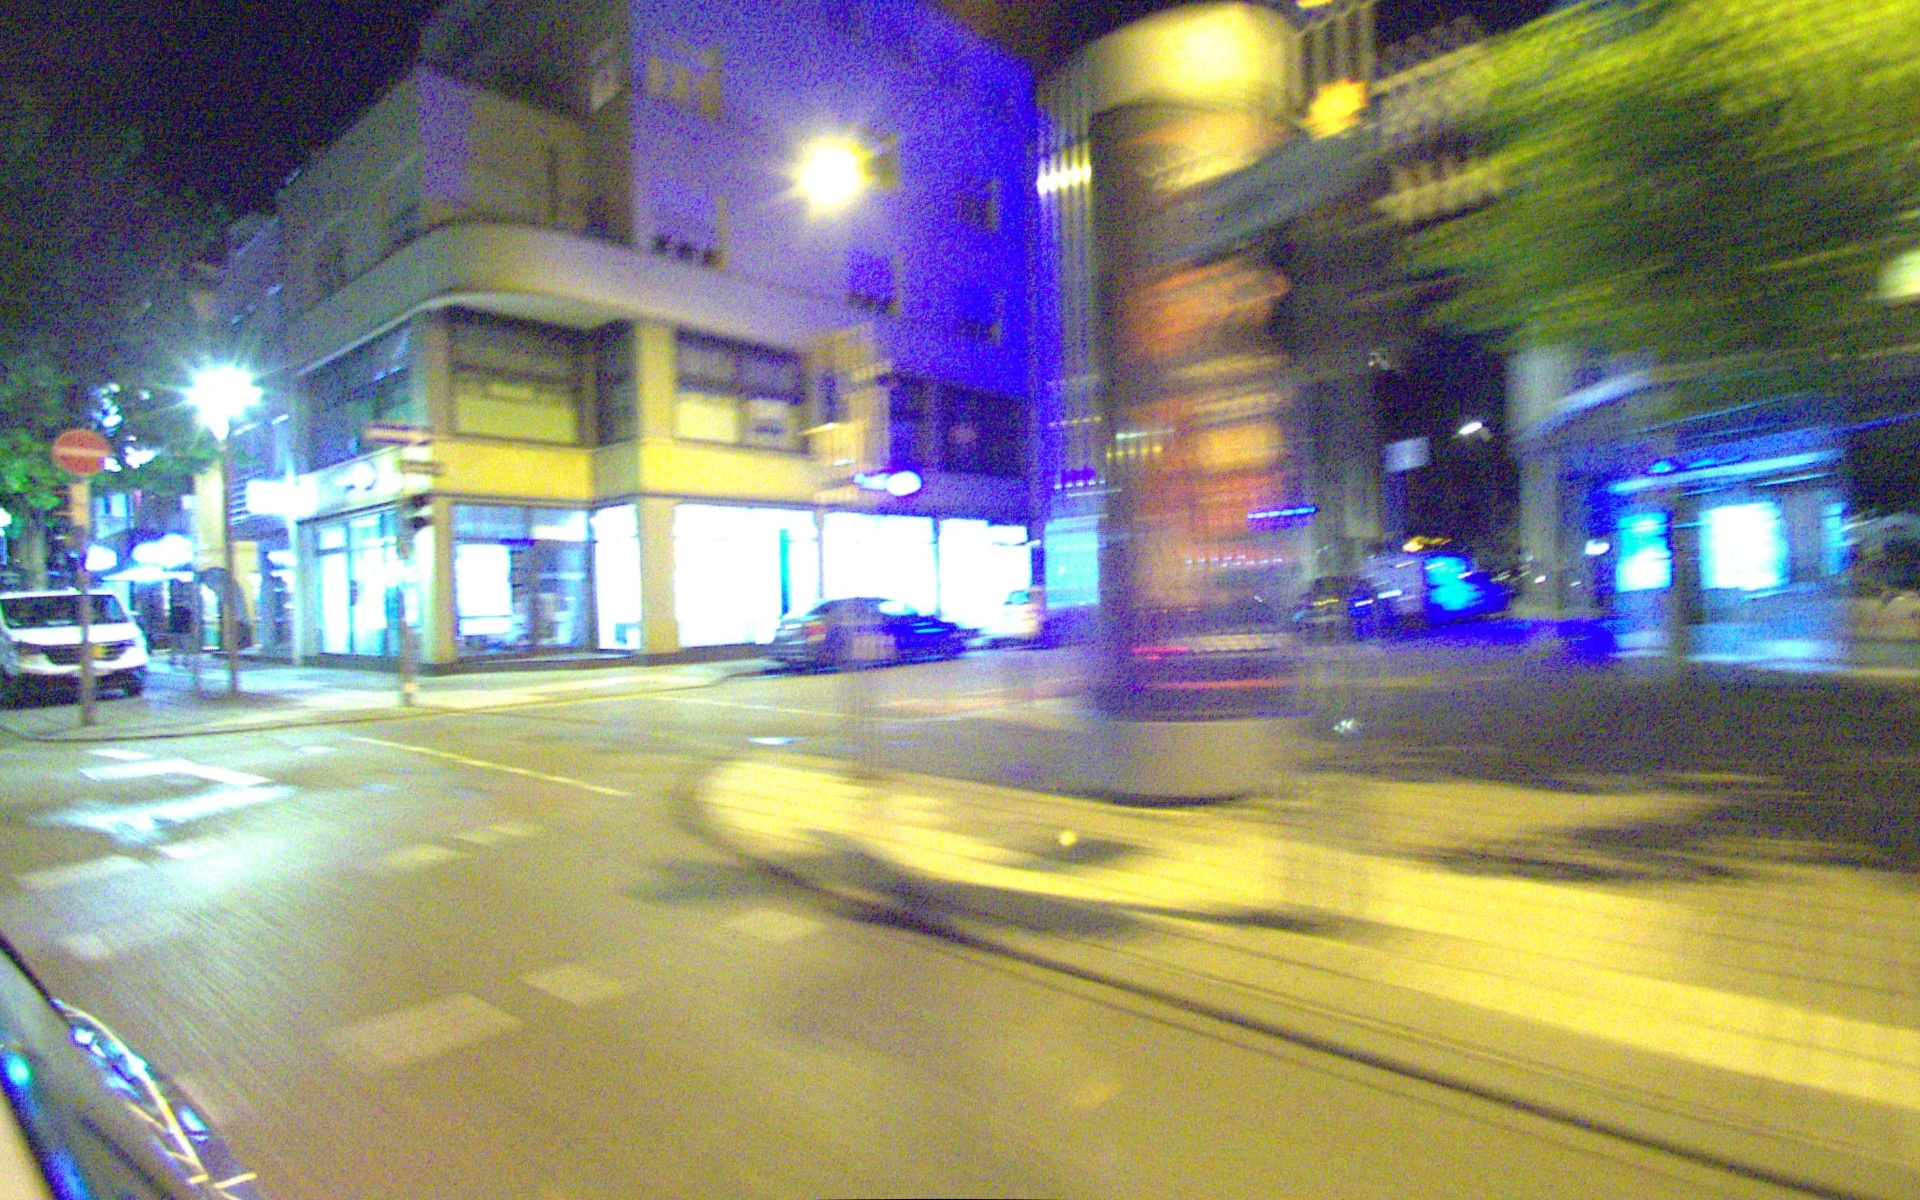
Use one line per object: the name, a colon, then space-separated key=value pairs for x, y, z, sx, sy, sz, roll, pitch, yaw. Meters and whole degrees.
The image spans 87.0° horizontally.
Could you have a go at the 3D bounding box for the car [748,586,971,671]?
car: x=-1.855 y=0.486 z=19.850 sx=1.802 sy=1.408 sz=4.283 roll=-1 pitch=1 yaw=41

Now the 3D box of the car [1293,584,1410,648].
car: x=9.340 y=0.351 z=24.066 sx=1.659 sy=1.395 sz=3.059 roll=-1 pitch=0 yaw=41

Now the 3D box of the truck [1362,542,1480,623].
truck: x=12.665 y=-0.469 z=27.697 sx=1.857 sy=2.038 sz=3.987 roll=-1 pitch=0 yaw=41

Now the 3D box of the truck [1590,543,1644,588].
truck: x=34.866 y=-1.791 z=53.674 sx=1.857 sy=2.255 sz=3.940 roll=-1 pitch=0 yaw=41

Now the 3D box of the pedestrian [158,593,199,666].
pedestrian: x=-19.967 y=0.734 z=25.854 sx=0.716 sy=1.820 sz=0.710 roll=-1 pitch=0 yaw=42

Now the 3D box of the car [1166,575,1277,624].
car: x=8.244 y=-0.036 z=31.720 sx=1.802 sy=1.406 sz=3.857 roll=-1 pitch=1 yaw=41

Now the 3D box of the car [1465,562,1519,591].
car: x=30.016 y=-1.324 z=57.052 sx=1.802 sy=1.534 sz=3.857 roll=-1 pitch=1 yaw=41

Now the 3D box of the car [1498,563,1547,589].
car: x=33.582 y=-1.437 z=60.369 sx=1.802 sy=1.406 sz=3.857 roll=-1 pitch=1 yaw=41

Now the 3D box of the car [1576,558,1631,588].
car: x=31.995 y=-1.332 z=50.290 sx=1.726 sy=1.429 sz=3.857 roll=-1 pitch=0 yaw=41

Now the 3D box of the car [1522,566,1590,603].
car: x=24.565 y=-0.646 z=41.664 sx=1.726 sy=1.429 sz=3.857 roll=-1 pitch=0 yaw=41

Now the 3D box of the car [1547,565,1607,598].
car: x=28.163 y=-0.857 z=46.133 sx=1.726 sy=1.429 sz=3.857 roll=-1 pitch=0 yaw=41

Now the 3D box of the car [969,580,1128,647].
car: x=2.233 y=0.277 z=24.695 sx=1.802 sy=1.447 sz=4.093 roll=-1 pitch=1 yaw=41

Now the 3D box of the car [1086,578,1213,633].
car: x=5.367 y=0.126 z=28.376 sx=1.802 sy=1.406 sz=3.857 roll=-1 pitch=1 yaw=41

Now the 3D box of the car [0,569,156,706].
car: x=-16.407 y=0.608 z=18.128 sx=5.081 sy=2.102 sz=1.836 roll=-1 pitch=2 yaw=37

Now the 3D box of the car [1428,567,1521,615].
car: x=16.258 y=-0.298 z=31.880 sx=1.726 sy=1.429 sz=3.857 roll=-1 pitch=0 yaw=41
